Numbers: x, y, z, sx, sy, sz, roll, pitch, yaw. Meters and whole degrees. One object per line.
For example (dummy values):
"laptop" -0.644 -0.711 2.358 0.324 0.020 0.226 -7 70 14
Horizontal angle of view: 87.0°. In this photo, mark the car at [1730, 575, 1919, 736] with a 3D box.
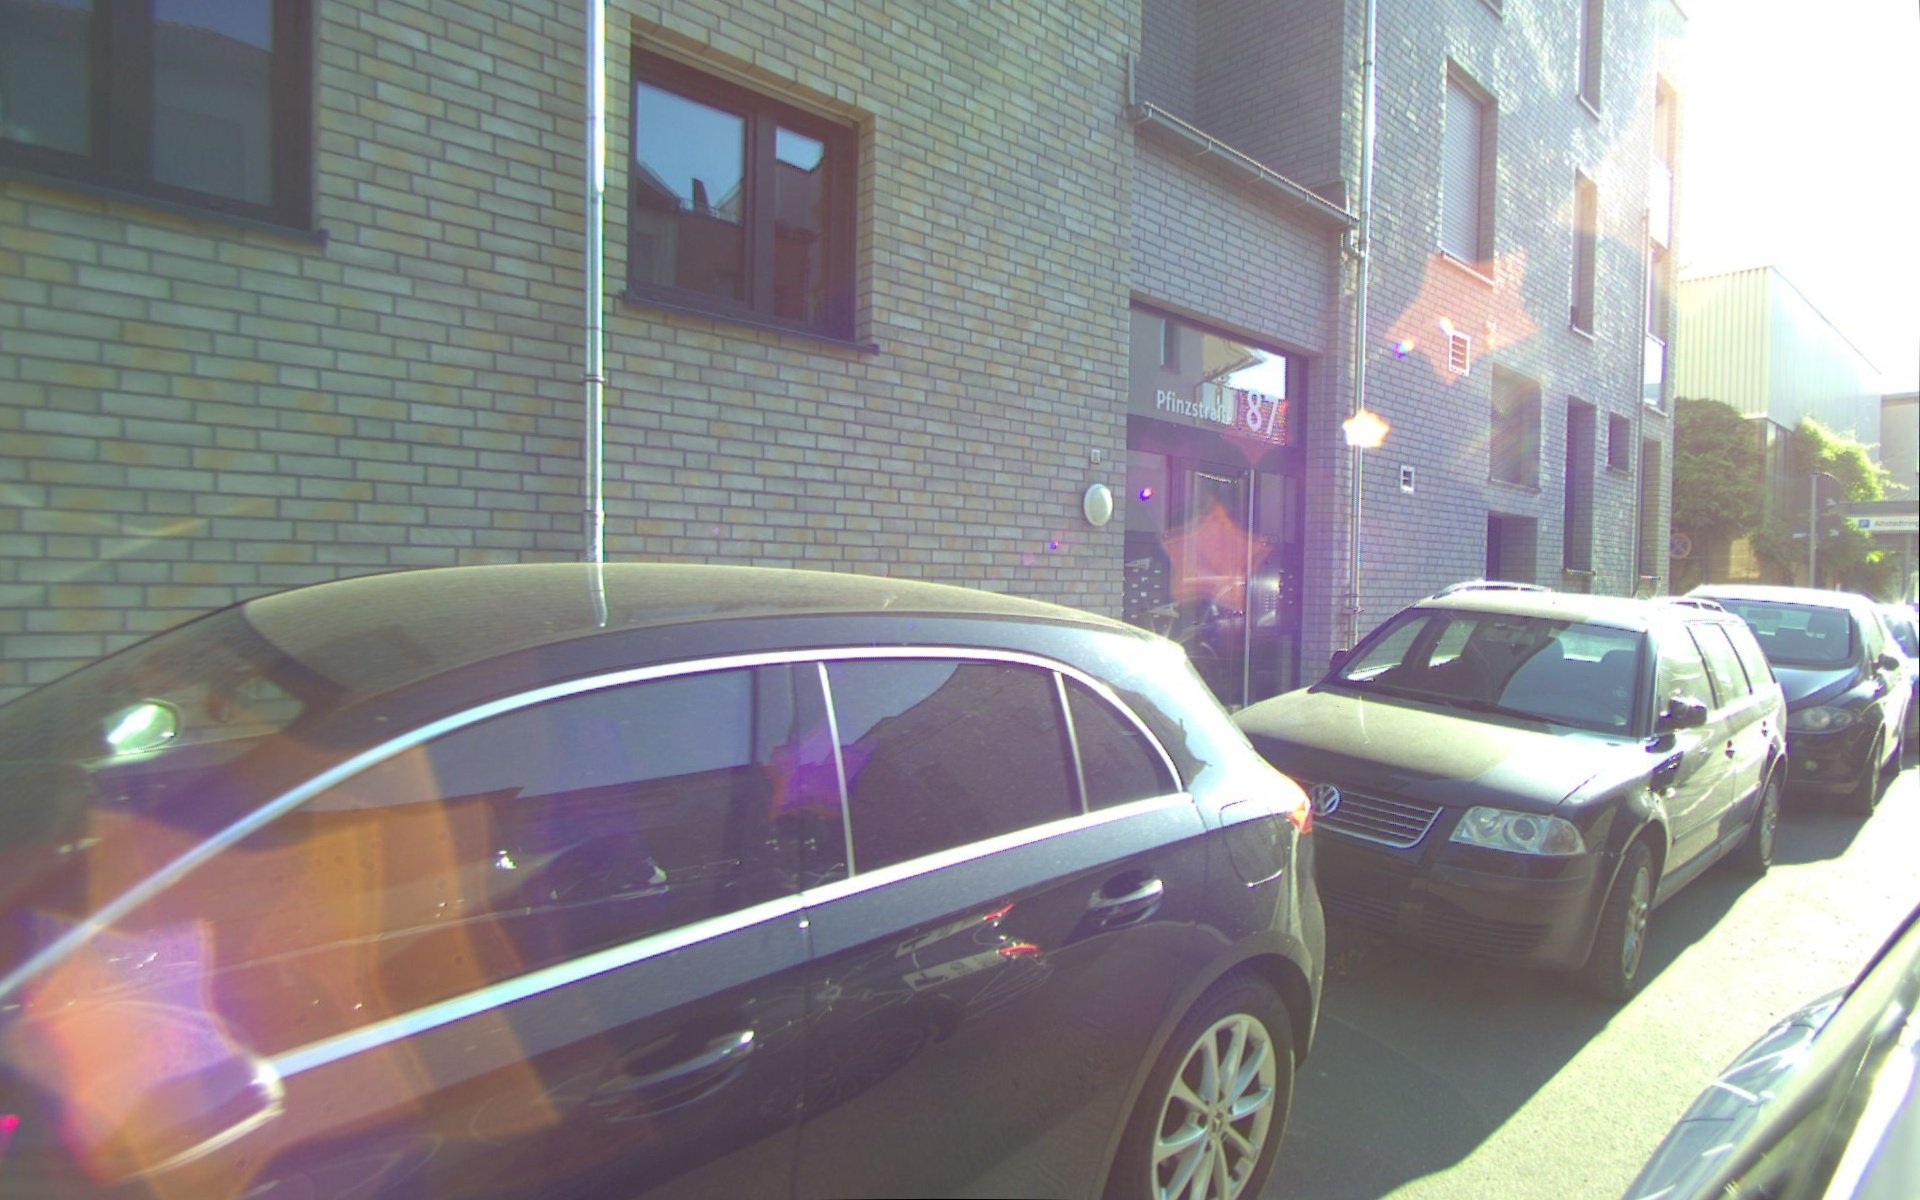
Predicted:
"car" 10.148 0.510 11.509 3.595 1.543 1.728 -1 2 -45

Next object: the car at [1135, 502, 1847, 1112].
"car" 3.038 0.554 5.135 4.757 1.755 1.669 -1 2 -42

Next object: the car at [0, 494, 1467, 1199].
"car" -0.992 0.624 1.819 4.545 1.547 1.729 -1 5 -41

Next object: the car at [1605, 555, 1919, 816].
"car" 6.971 0.515 8.471 4.270 1.611 1.652 0 3 -44
